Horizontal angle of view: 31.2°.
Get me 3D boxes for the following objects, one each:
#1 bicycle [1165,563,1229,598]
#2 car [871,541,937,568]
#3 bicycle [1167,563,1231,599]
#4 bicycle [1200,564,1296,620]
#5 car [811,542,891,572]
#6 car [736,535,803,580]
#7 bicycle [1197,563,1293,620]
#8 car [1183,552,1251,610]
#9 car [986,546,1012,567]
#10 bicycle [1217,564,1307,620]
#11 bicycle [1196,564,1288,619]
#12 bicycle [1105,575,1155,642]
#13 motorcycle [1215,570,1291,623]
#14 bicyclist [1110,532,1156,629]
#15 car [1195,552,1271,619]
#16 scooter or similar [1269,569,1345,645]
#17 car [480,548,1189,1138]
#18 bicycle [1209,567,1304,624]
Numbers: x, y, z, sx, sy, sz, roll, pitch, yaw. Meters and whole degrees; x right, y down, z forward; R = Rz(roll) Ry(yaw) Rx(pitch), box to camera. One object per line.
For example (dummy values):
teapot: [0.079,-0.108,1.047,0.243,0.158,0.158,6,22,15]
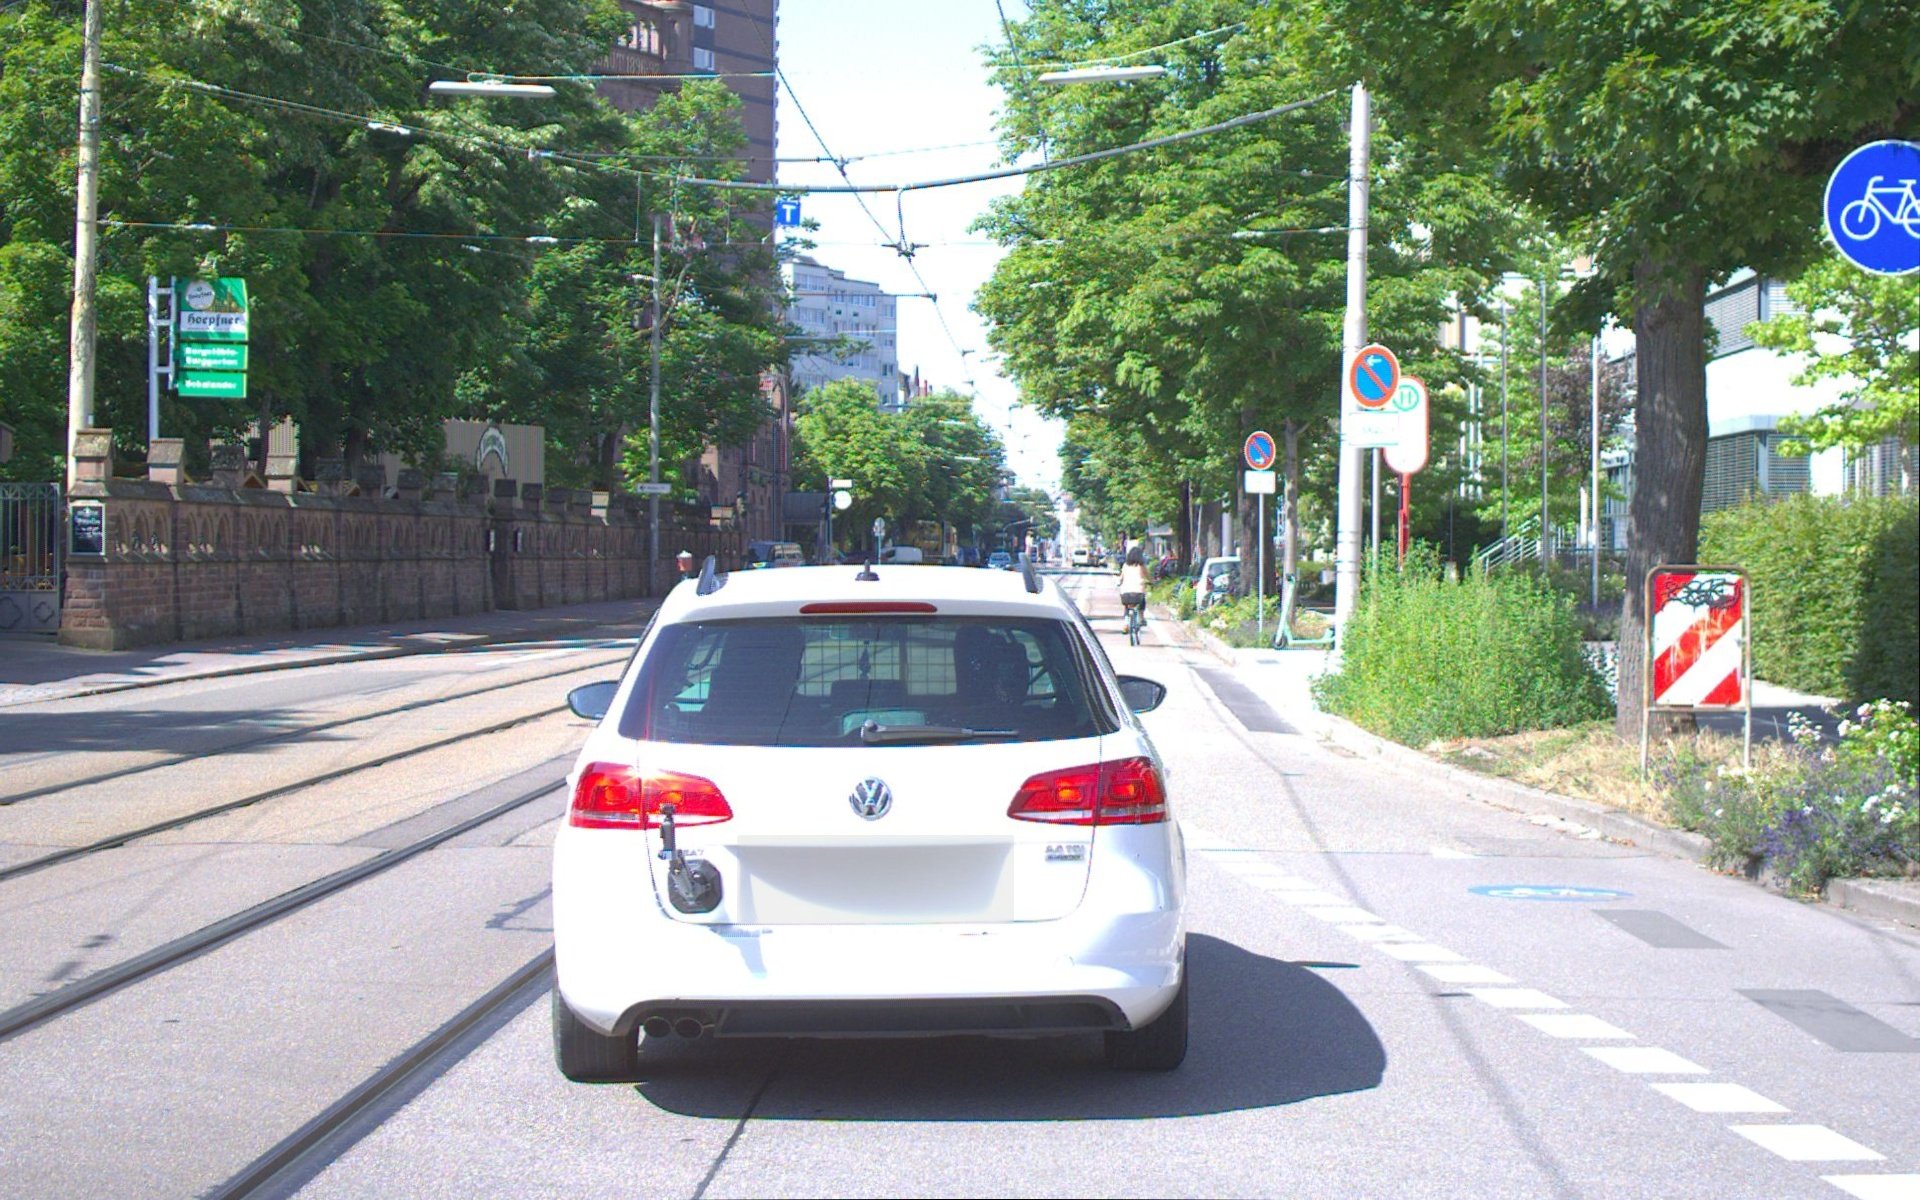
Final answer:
bicycle: [6.774,-0.561,98.305,1.787,1.007,0.488,0,1,-2]
car: [-3.736,-3.064,229.870,3.987,1.809,2.000,0,1,-33]
bicycle: [6.791,-0.548,97.784,1.787,1.007,0.488,0,1,-2]
bicycle: [5.966,-0.164,71.264,1.911,1.079,0.551,2,1,0]
car: [-6.226,-2.453,196.463,4.116,1.525,1.933,2,1,-18]
car: [-7.492,-1.688,135.324,1.994,1.751,4.711,0,1,5]
bicycle: [5.949,-0.180,71.865,1.911,1.079,0.551,3,1,0]
car: [6.637,-0.506,89.035,1.664,1.439,4.633,0,1,3]
car: [2.563,-2.859,224.827,1.493,1.380,3.642,0,1,3]
bicycle: [6.144,-0.165,70.006,1.774,1.116,0.596,0,1,0]
bicycle: [5.993,-0.177,73.119,1.885,1.079,0.551,2,1,0]
bicycle: [2.877,0.135,58.186,0.811,1.074,2.012,1,1,3]
motorcycle: [5.826,-0.078,68.425,1.465,1.042,0.534,0,1,0]
bicyclist: [2.931,-0.333,58.286,0.786,1.623,0.738,0,1,3]
car: [6.097,-0.348,77.066,1.590,1.446,3.946,0,1,3]
scooter or similar: [5.383,0.104,53.334,1.143,1.150,0.493,1,1,9]
car: [-0.289,0.574,10.774,1.754,1.437,4.413,0,1,1]
bicycle: [5.710,-0.091,66.275,1.774,1.079,0.596,0,1,0]
